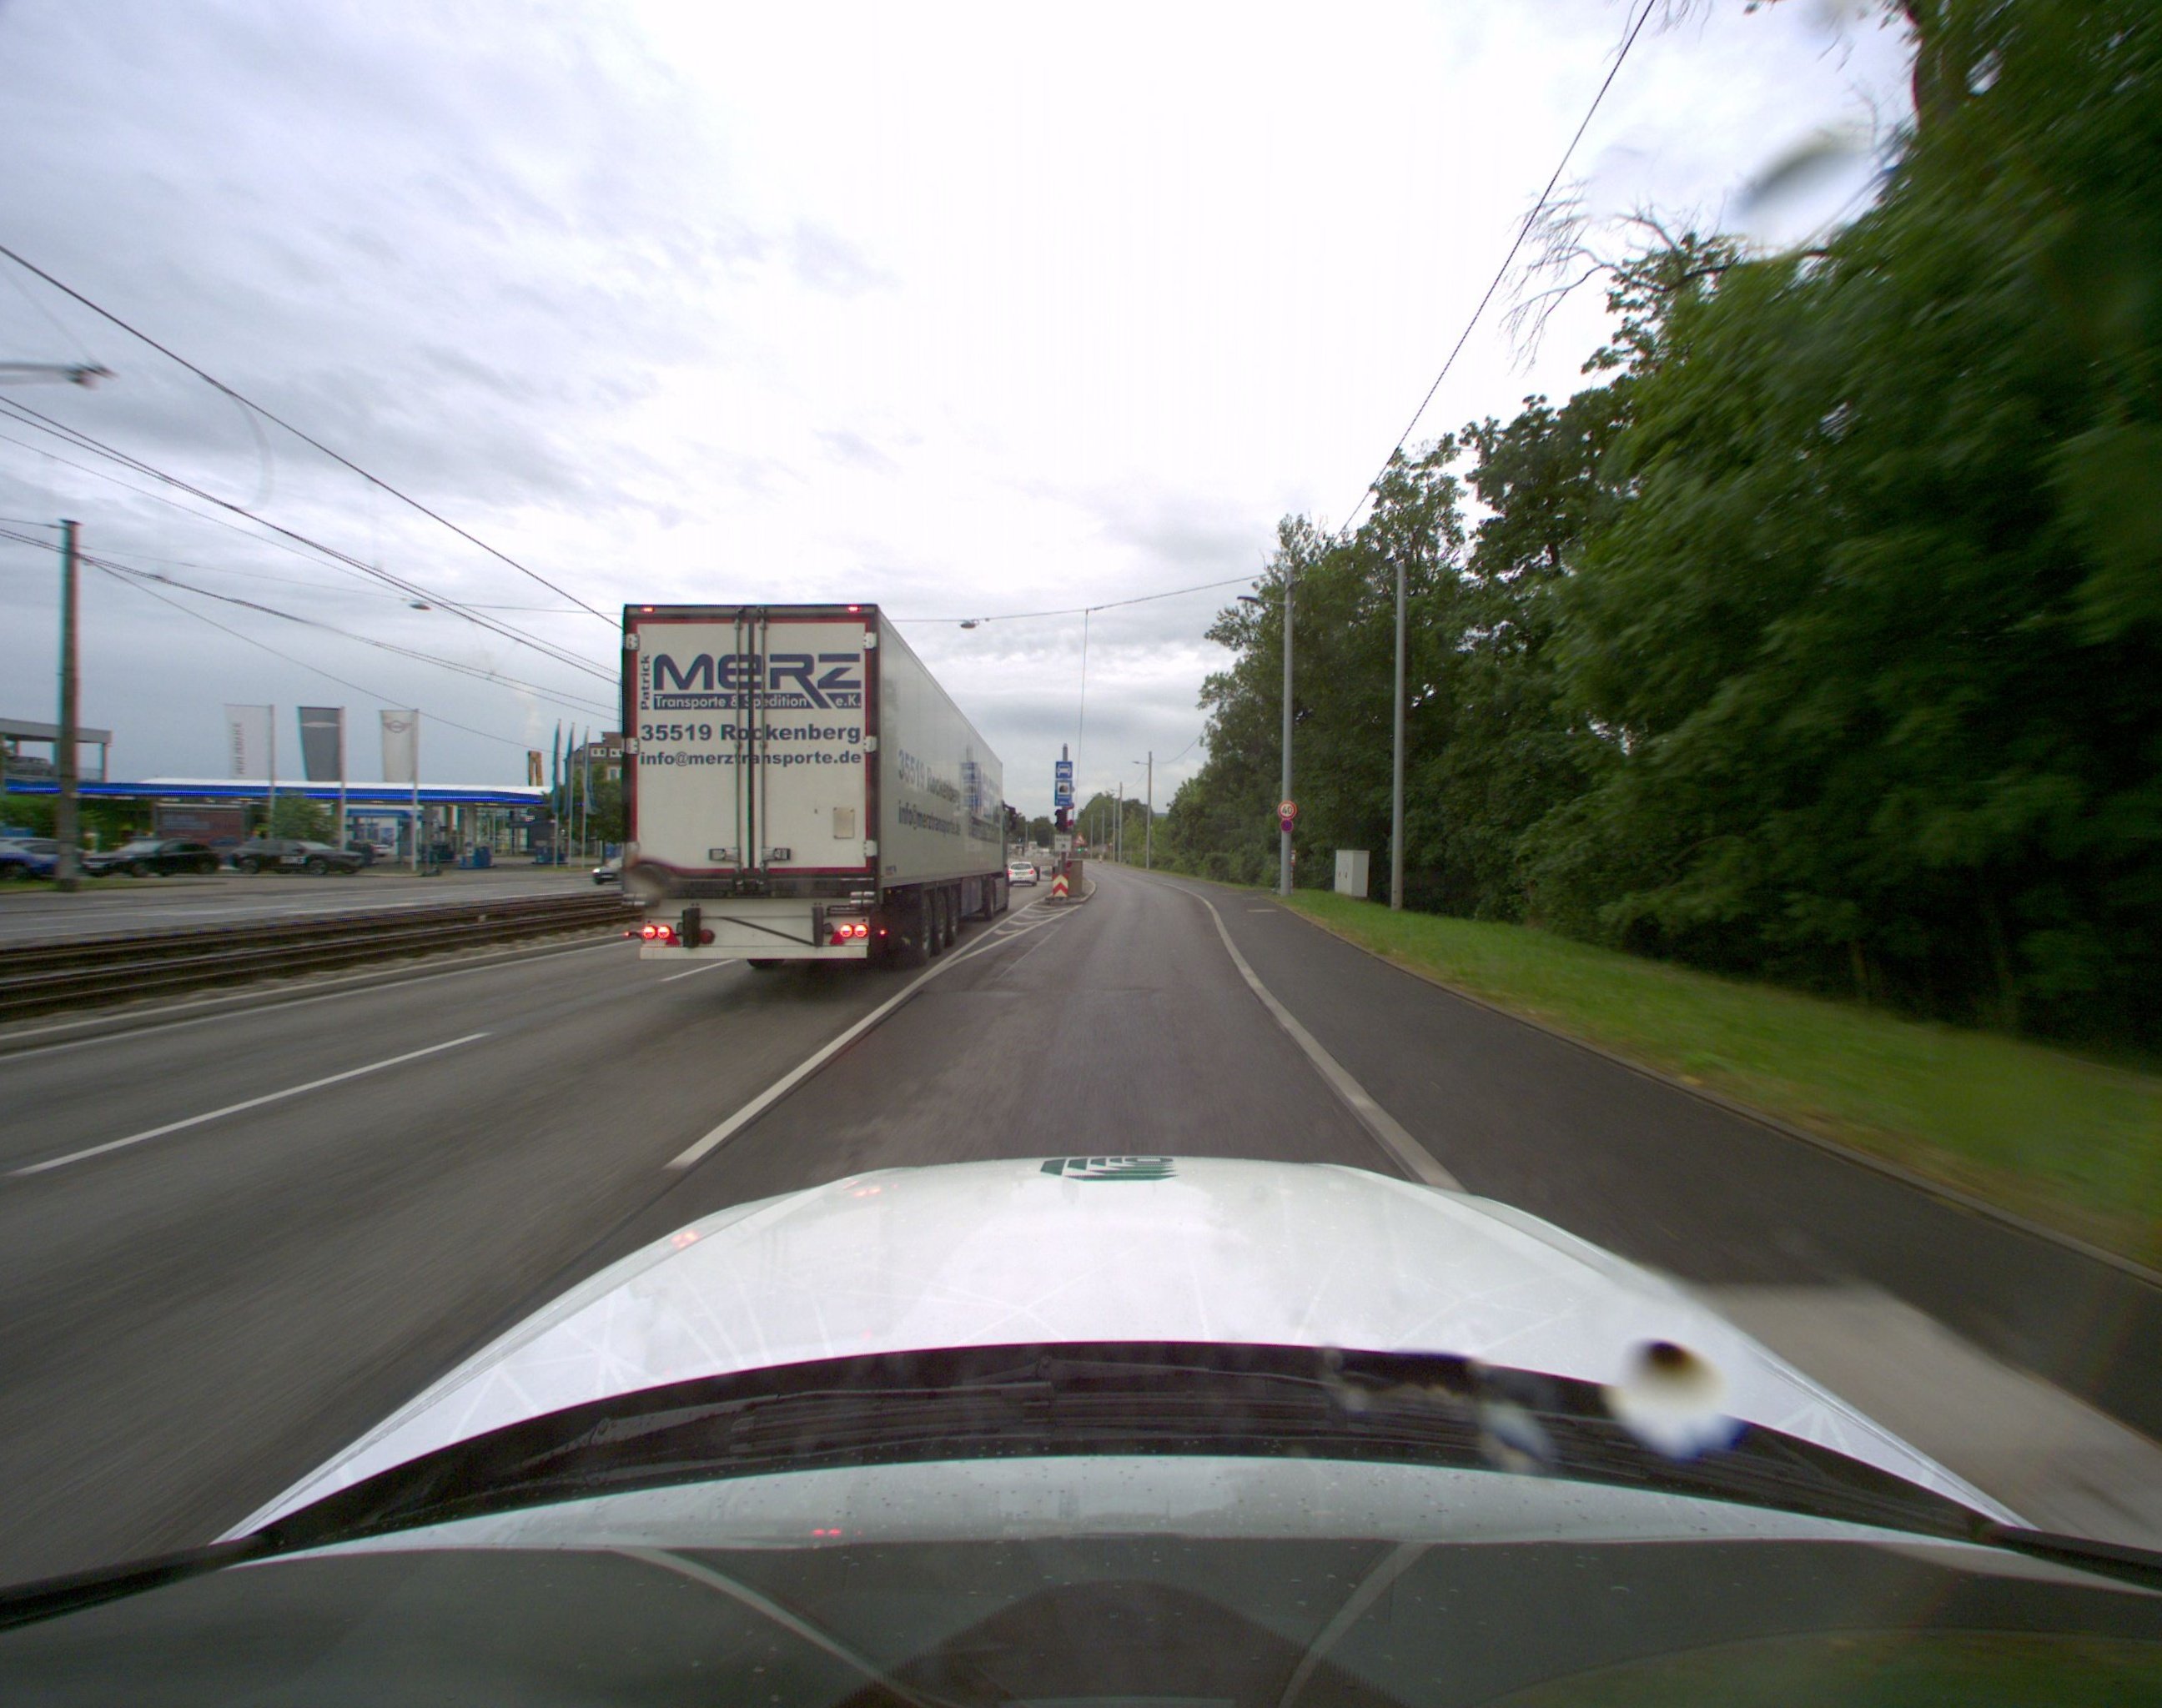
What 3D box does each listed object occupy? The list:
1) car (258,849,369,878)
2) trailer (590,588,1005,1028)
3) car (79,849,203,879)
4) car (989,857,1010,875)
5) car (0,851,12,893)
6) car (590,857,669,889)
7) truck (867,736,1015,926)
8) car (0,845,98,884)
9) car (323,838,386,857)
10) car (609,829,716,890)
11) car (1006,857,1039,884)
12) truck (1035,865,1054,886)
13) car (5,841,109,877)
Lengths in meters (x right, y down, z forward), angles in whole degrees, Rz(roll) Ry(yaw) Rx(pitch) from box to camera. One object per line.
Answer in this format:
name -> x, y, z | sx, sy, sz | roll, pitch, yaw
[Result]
car -> -35.596, 0.448, 37.822 | 3.502, 1.274, 1.717 | 1, 0, 1
trailer -> -3.373, -0.502, 14.548 | 2.753, 4.252, 13.181 | -1, 0, 0
car -> -40.882, 0.428, 35.531 | 1.583, 1.243, 3.424 | 1, 0, -5
car -> -7.812, 1.136, 78.416 | 1.677, 1.446, 3.997 | 0, 2, -2
car -> -34.286, 0.540, 23.375 | 4.004, 1.234, 1.691 | 1, 2, -23
car -> -22.774, 0.937, 41.267 | 1.737, 1.515, 4.336 | 0, 0, -2
truck -> -3.375, -0.533, 21.325 | 2.747, 4.204, 6.305 | -1, 0, 0
car -> -35.229, 0.327, 26.323 | 4.004, 1.235, 1.747 | 1, -1, -23
car -> -65.545, -0.568, 73.511 | 3.975, 1.640, 1.857 | 1, 0, -1
car -> -19.398, 0.245, 38.130 | 2.046, 2.598, 6.159 | 1, 0, -3
car -> -3.515, 0.983, 49.477 | 1.805, 1.423, 3.997 | 0, 2, -2
truck -> -7.239, 4.204, 162.520 | 3.509, 4.040, 8.067 | 0, 0, -2
car -> -47.933, 0.223, 38.204 | 1.379, 1.573, 2.797 | 1, 0, -4
